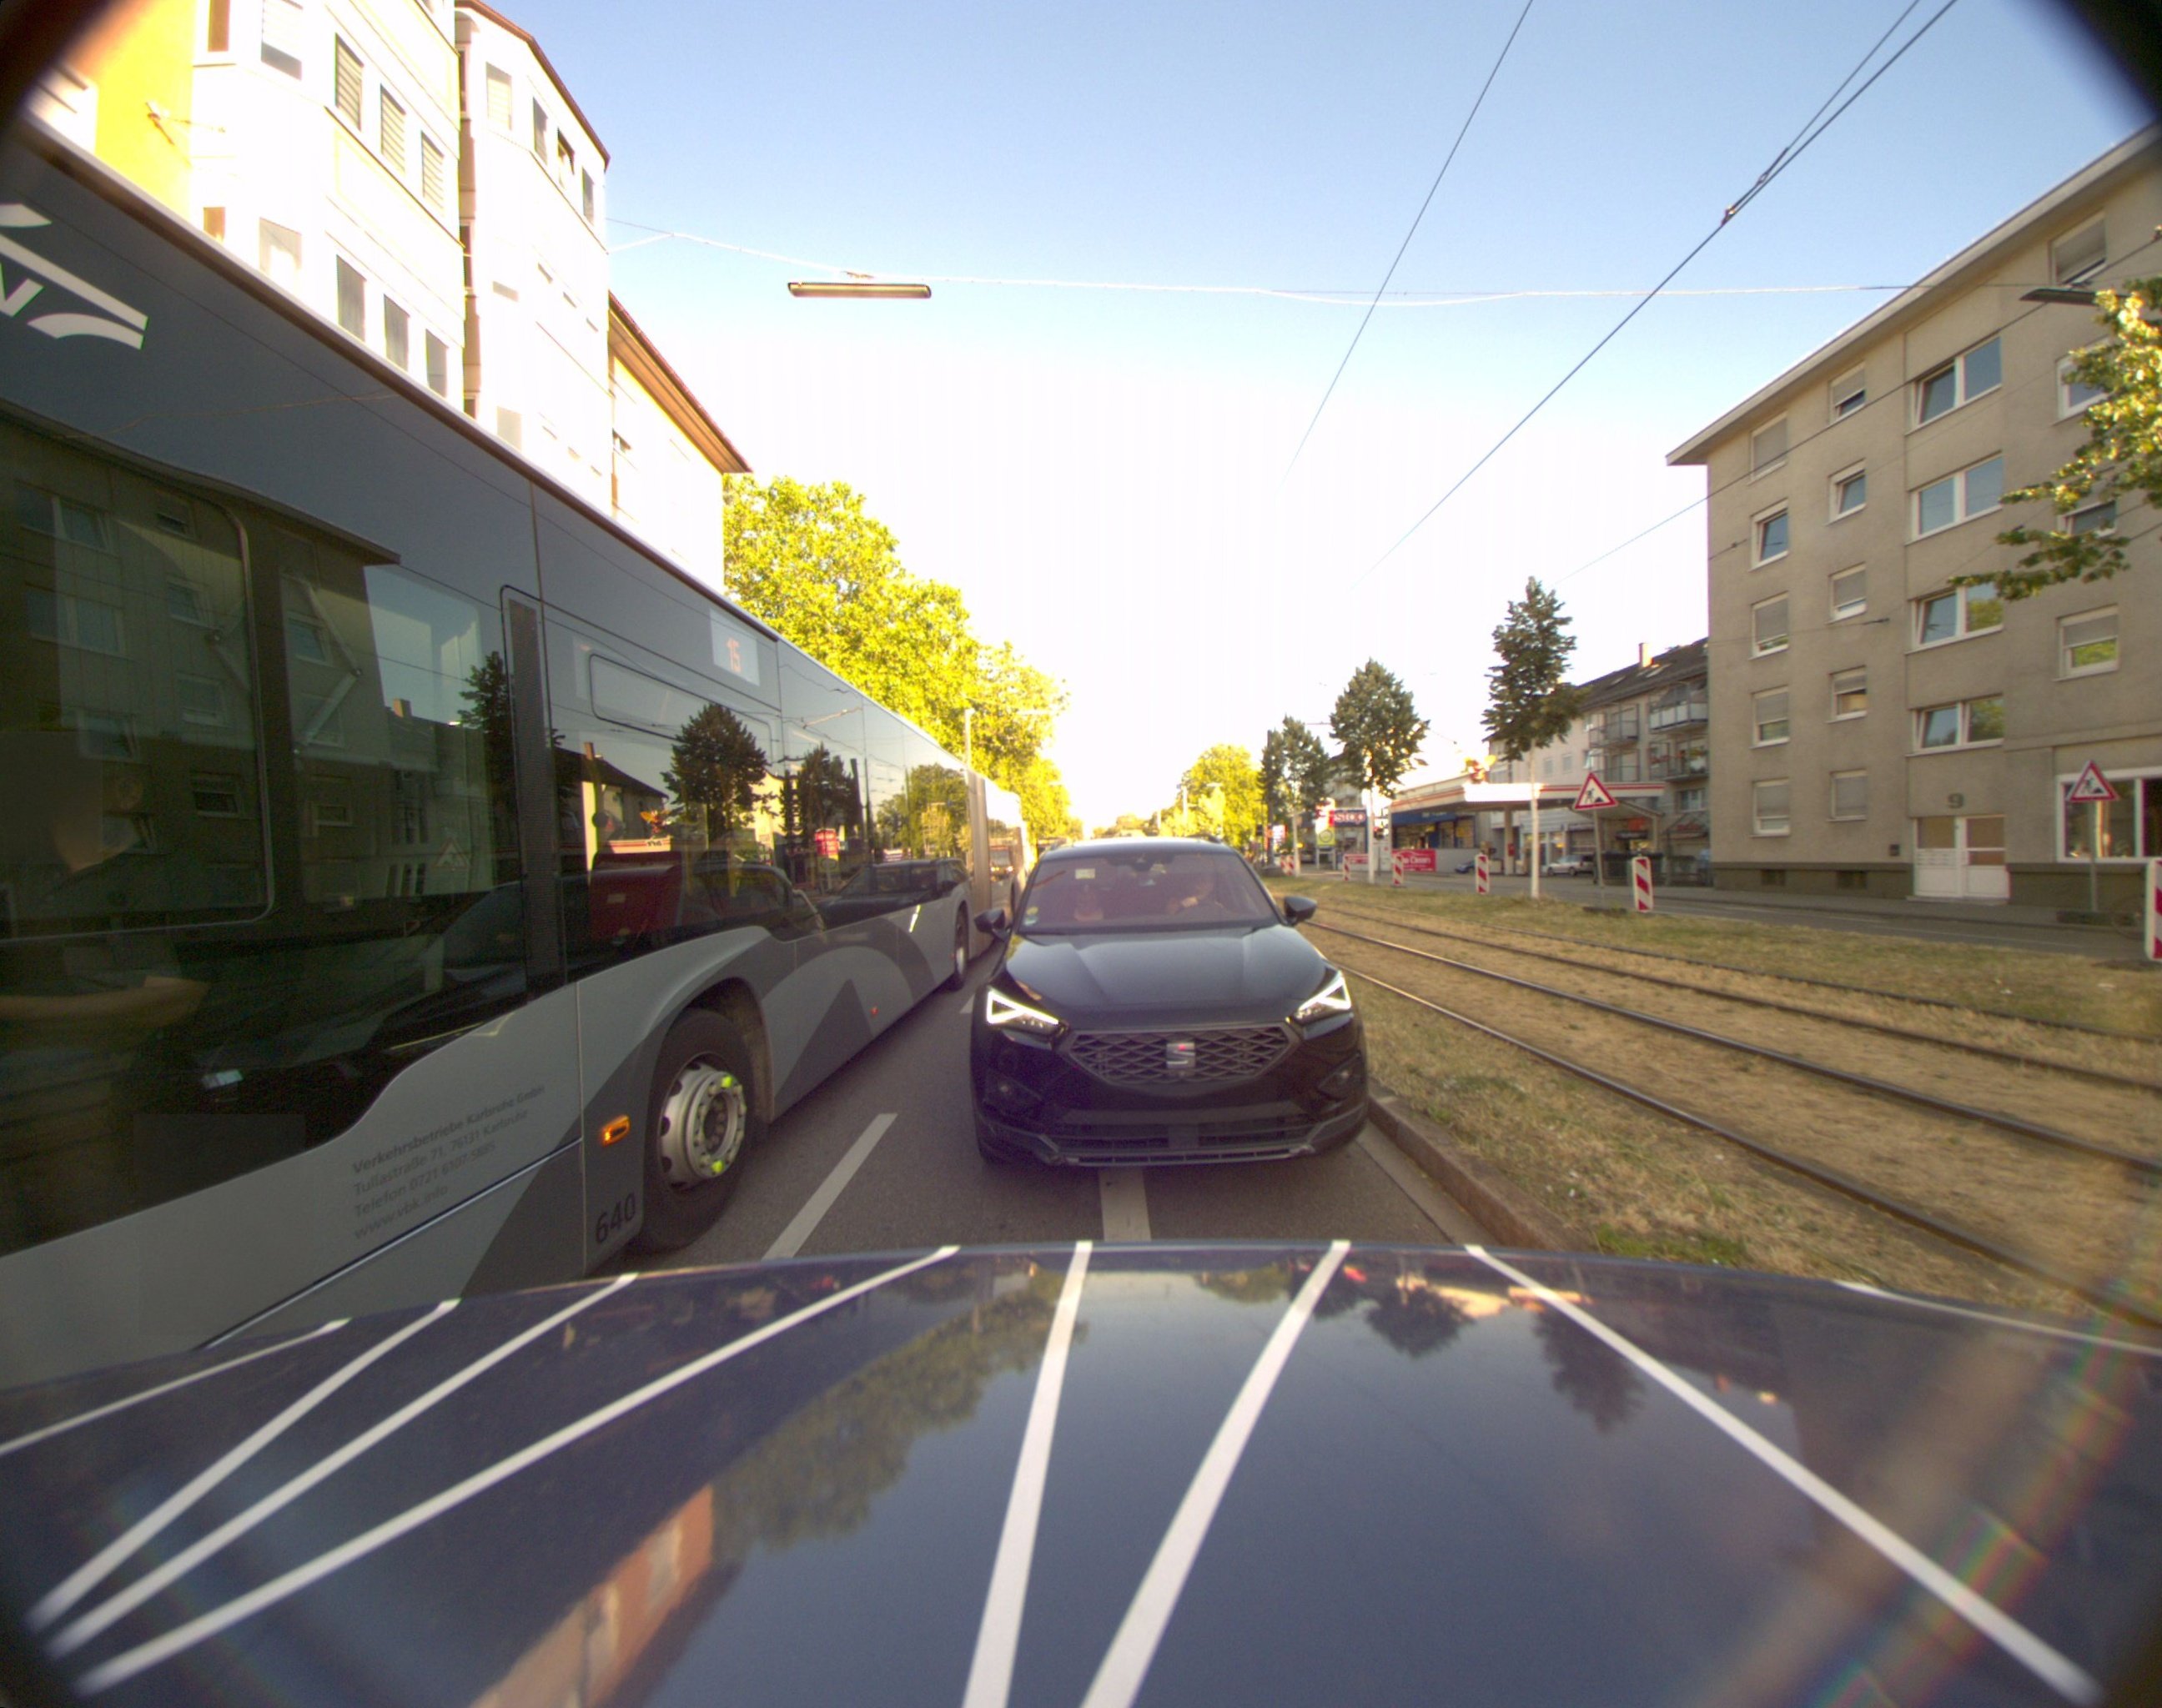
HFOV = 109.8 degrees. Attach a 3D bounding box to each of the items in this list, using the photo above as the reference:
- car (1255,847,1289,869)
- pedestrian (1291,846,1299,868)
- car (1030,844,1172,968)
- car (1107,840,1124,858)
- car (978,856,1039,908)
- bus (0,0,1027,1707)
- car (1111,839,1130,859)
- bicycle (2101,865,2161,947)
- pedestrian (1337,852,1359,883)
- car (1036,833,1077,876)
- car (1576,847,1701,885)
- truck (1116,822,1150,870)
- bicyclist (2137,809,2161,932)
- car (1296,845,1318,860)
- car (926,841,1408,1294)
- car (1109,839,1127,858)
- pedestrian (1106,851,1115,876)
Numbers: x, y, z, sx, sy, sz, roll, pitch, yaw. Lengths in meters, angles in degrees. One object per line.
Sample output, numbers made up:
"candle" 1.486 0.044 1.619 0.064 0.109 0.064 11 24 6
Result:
"car" 16.270 0.304 64.882 1.998 1.725 4.394 -1 1 4
"pedestrian" 20.148 0.287 71.645 0.632 2.002 0.583 0 1 2
"car" 0.300 0.734 12.775 1.998 1.739 4.000 0 0 1
"car" 3.995 -0.625 87.884 1.767 2.002 3.791 -2 1 1
"car" -2.457 0.910 26.517 1.750 1.598 3.823 -2 1 -1
"bus" -2.796 0.209 9.074 2.773 3.131 17.740 -2 0 1
"car" 4.067 -0.524 78.530 1.767 2.002 3.791 -2 1 1
"bicycle" 16.760 0.801 11.488 0.456 1.250 1.872 -1 0 11
"pedestrian" 10.963 0.548 31.219 0.664 1.263 0.581 -2 0 1
"car" -1.715 0.027 55.716 2.681 2.875 5.452 -2 1 0
"car" 22.778 0.502 31.149 3.727 1.460 1.908 0 -1 0
"truck" 4.318 -0.693 64.529 2.306 3.798 7.723 -2 1 1
"bicyclist" 16.737 0.252 11.401 0.652 1.871 0.810 0 1 11
"car" 25.175 -0.213 84.811 1.781 1.547 4.002 -2 1 9
"car" 0.355 0.812 4.889 1.774 1.667 4.000 -2 0 1
"car" 4.085 -0.581 83.563 1.767 2.002 3.791 -2 1 1
"pedestrian" 2.407 0.773 62.224 0.625 2.002 0.695 -2 0 0
